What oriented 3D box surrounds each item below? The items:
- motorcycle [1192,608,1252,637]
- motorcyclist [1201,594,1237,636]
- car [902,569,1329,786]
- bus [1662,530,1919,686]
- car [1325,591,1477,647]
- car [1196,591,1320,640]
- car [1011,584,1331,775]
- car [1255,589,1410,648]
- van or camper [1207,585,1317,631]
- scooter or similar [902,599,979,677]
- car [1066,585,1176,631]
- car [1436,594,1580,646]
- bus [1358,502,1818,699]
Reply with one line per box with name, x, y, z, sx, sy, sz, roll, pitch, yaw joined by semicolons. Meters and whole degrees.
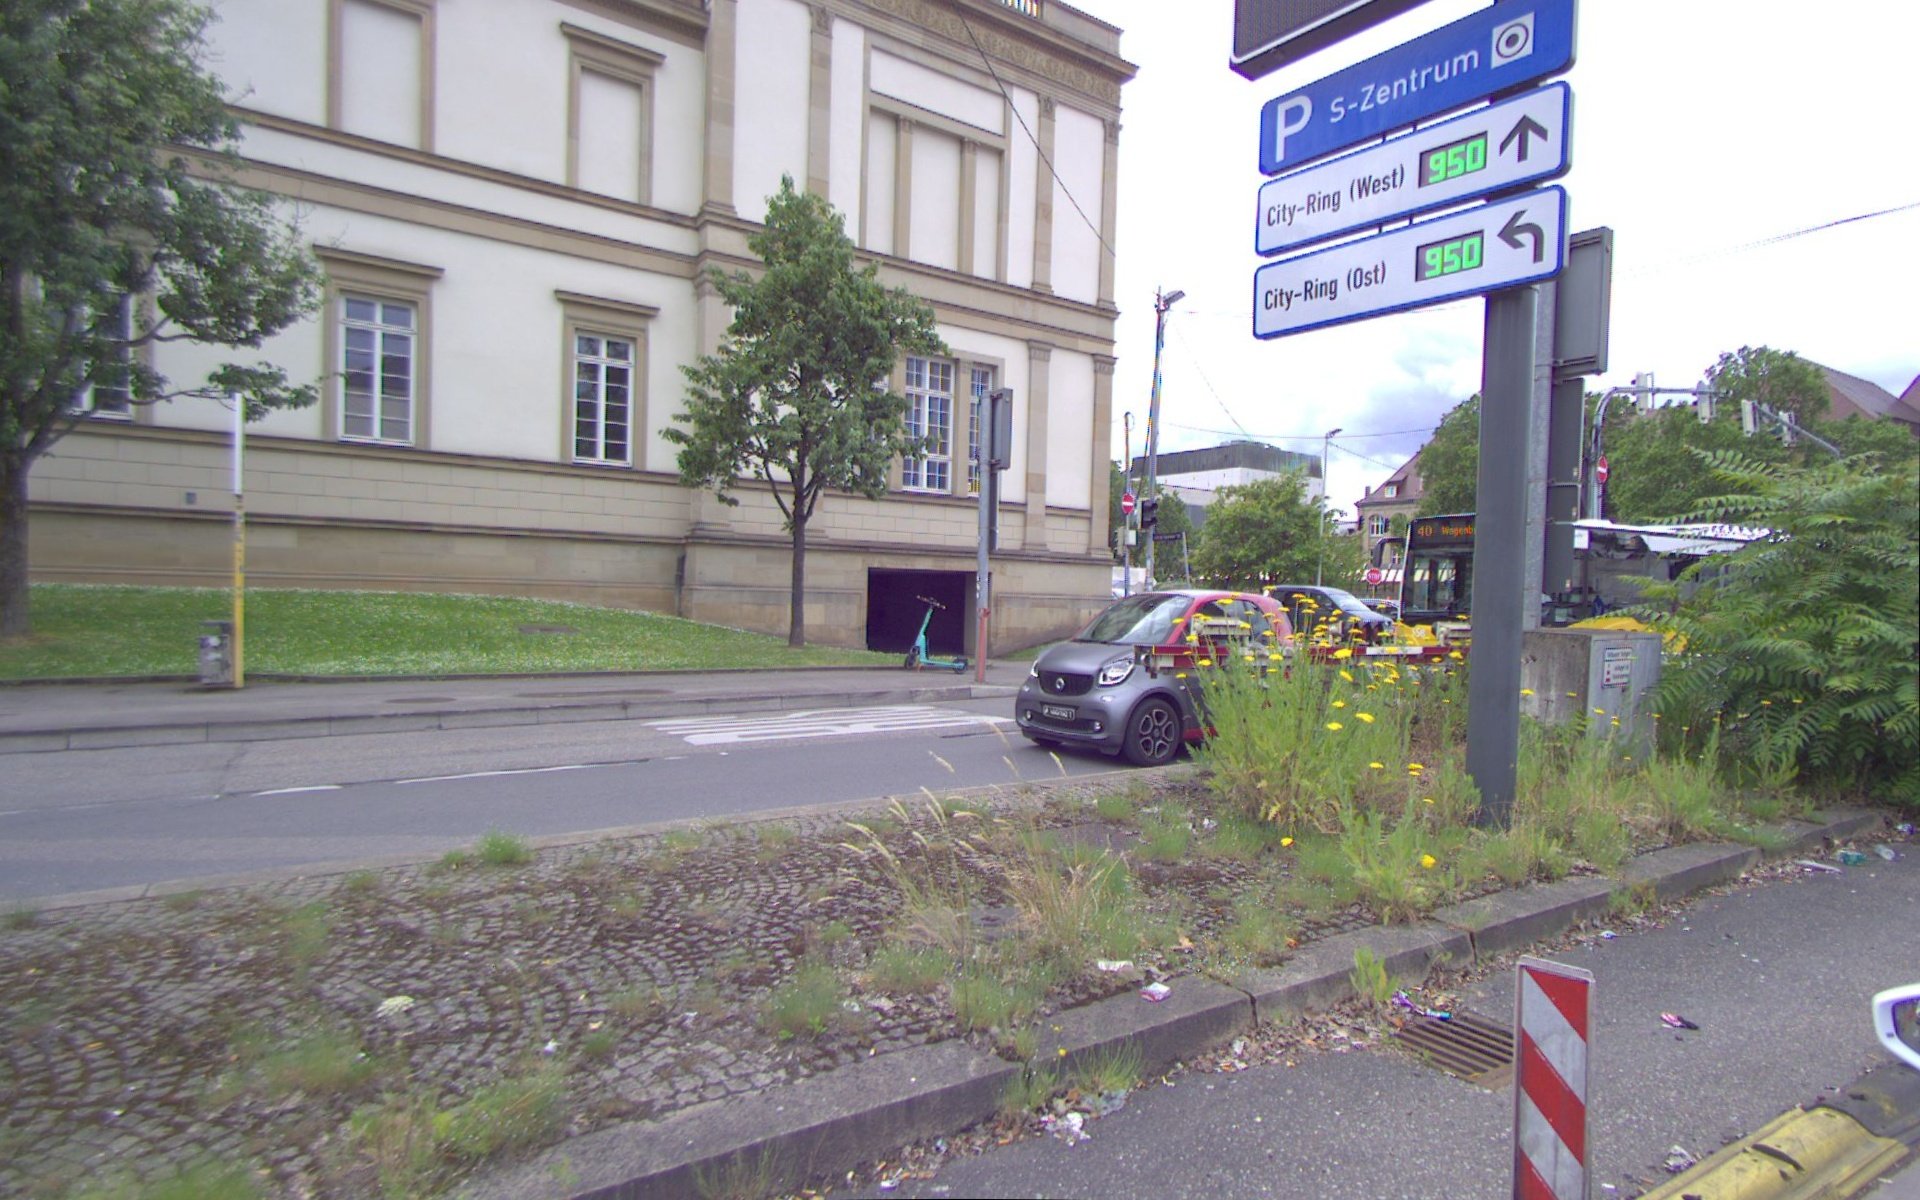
motorcycle;9.301;0.775;35.708;0.750;0.937;2.041;1;1;-36
motorcyclist;9.218;0.533;35.819;0.739;1.442;0.958;1;1;-36
car;1.530;0.611;9.287;3.843;1.612;1.652;1;-1;-35
bus;20.686;0.215;23.641;9.003;3.156;2.835;1;1;-27
car;14.876;0.594;34.089;1.980;1.698;4.283;1;1;-35
car;11.451;0.557;38.848;1.980;1.698;4.283;1;1;-35
car;2.063;0.675;9.699;2.794;1.572;1.525;1;0;-34
car;11.893;0.541;32.315;1.980;1.698;4.283;1;1;-35
van or camper;13.490;0.327;44.962;4.262;1.904;1.990;2;1;42
scooter or similar;-0.333;0.637;16.984;1.132;1.190;0.540;6;0;-11
car;6.433;0.277;40.581;1.980;1.698;4.283;1;1;-35
car;20.145;0.687;37.040;1.986;1.698;4.269;1;1;-44
bus;12.338;0.070;19.434;9.619;3.156;2.836;1;1;-26
